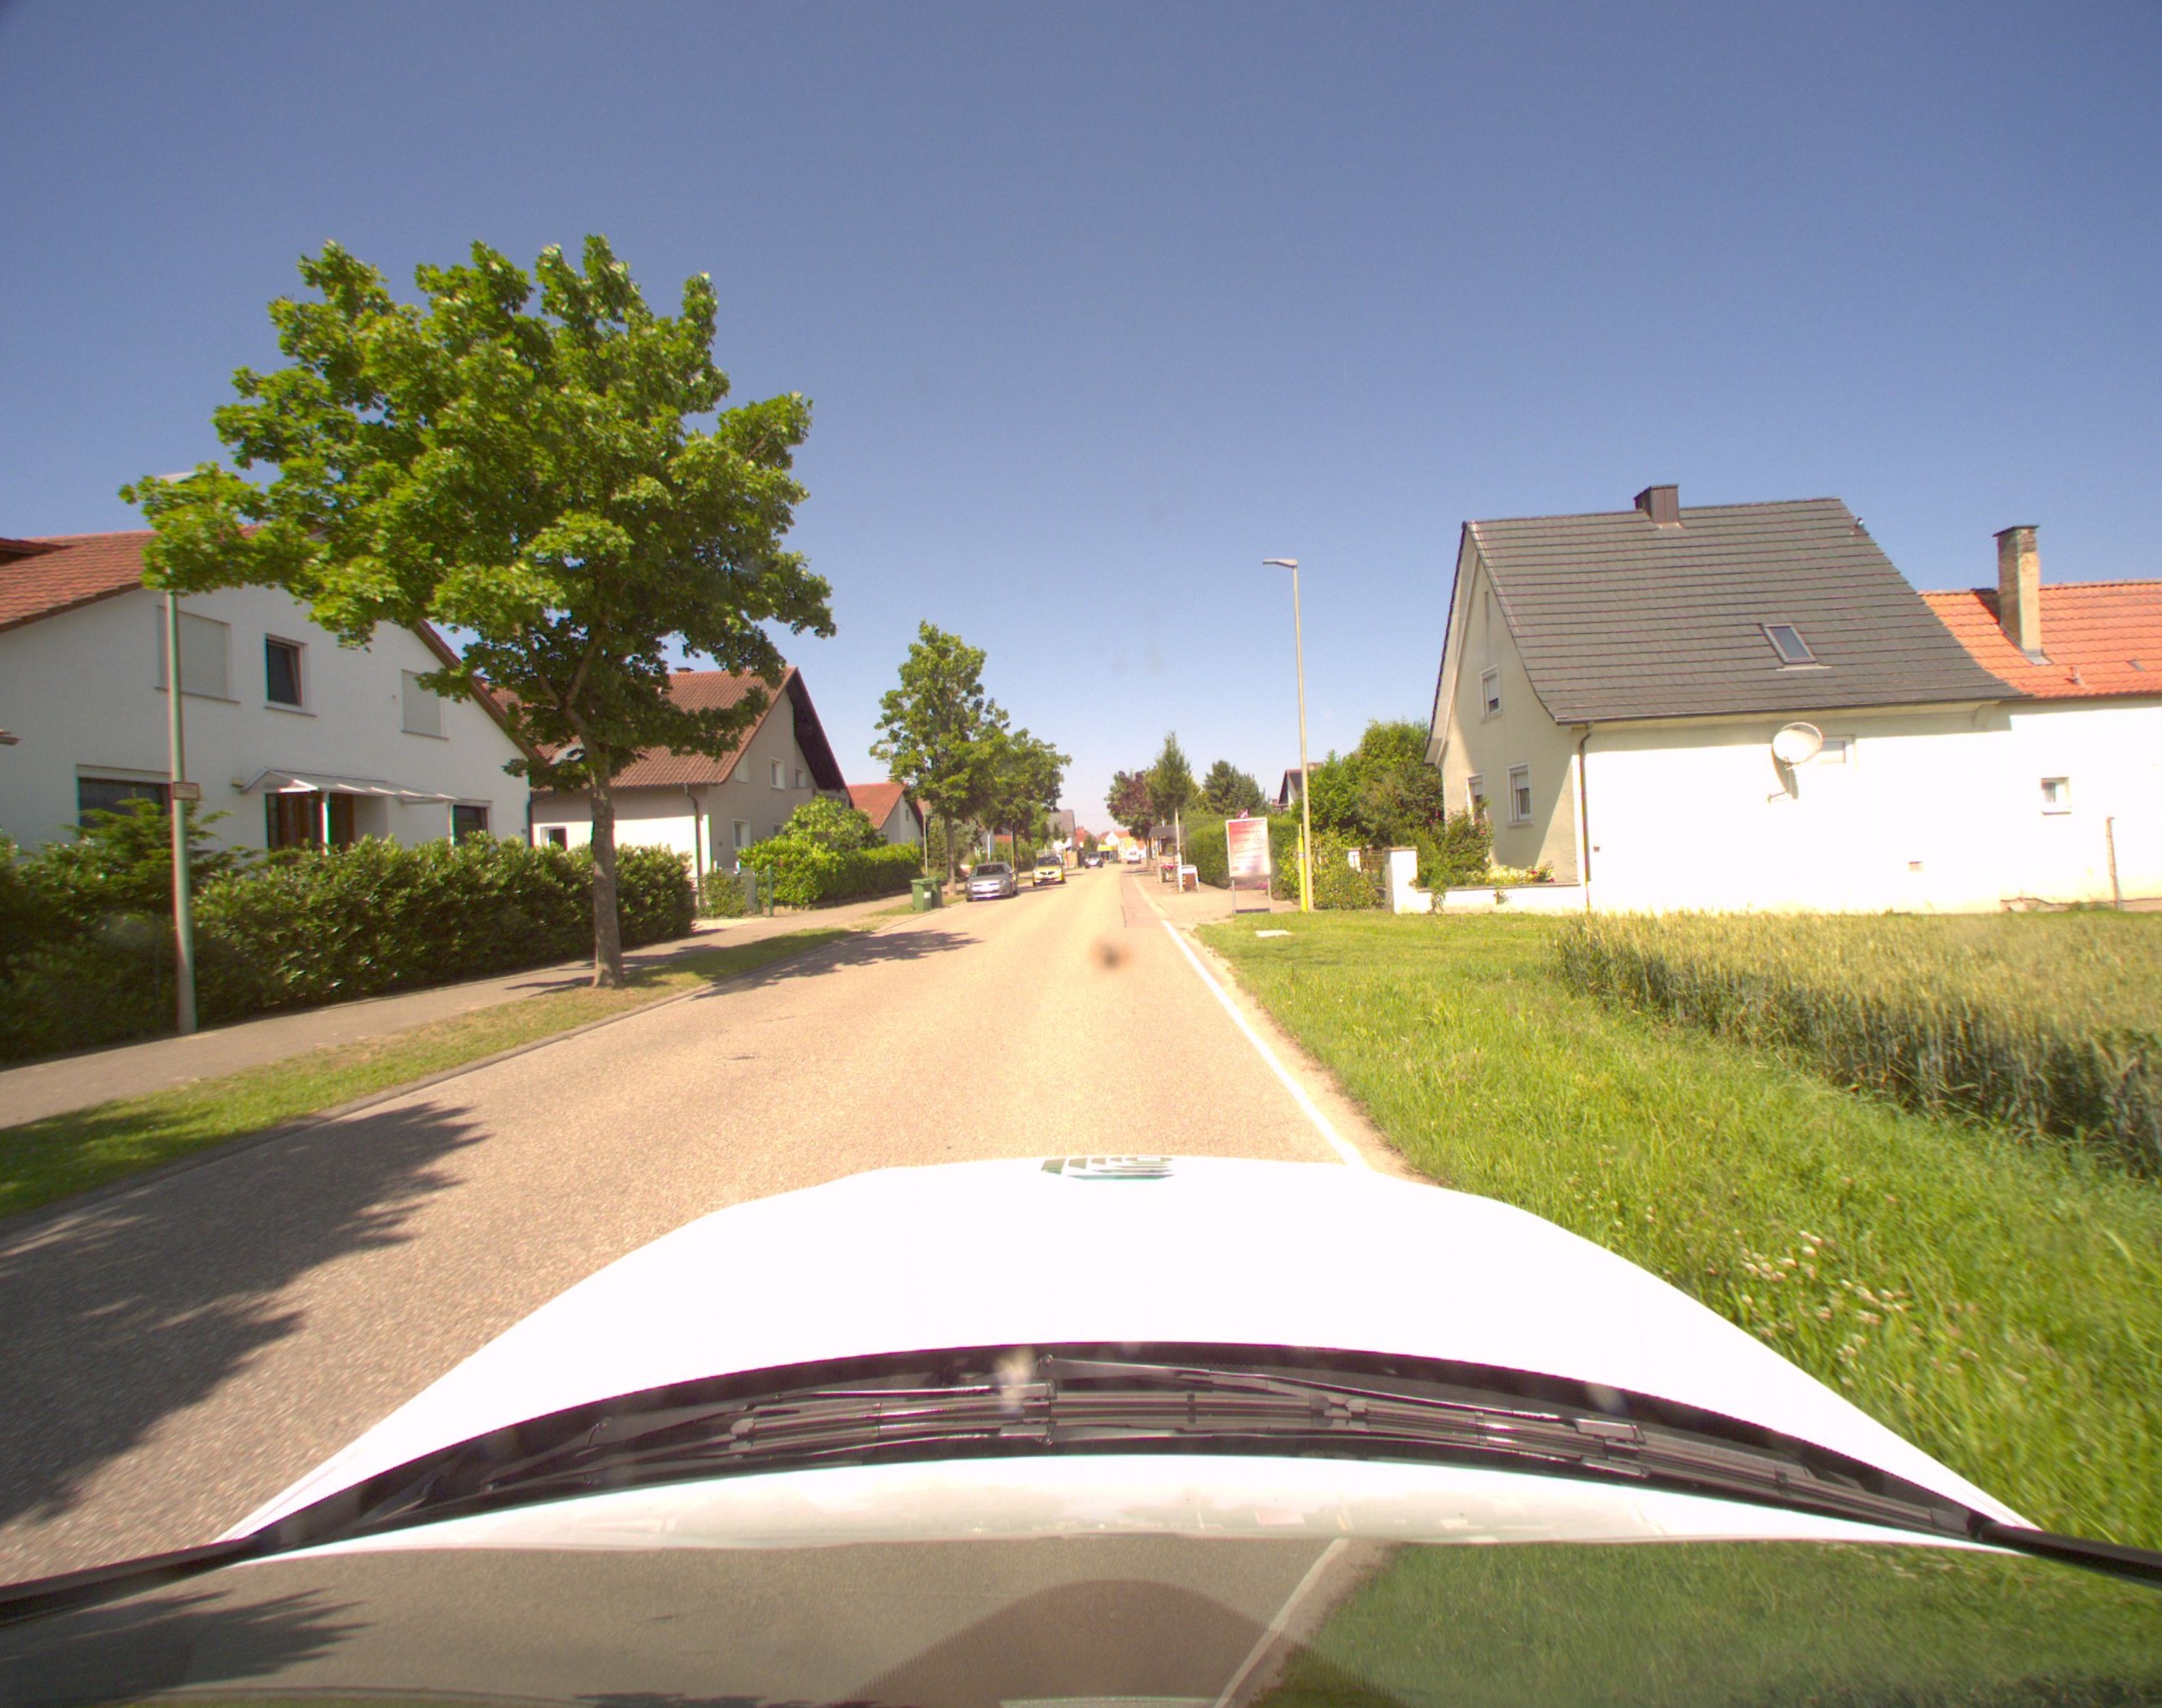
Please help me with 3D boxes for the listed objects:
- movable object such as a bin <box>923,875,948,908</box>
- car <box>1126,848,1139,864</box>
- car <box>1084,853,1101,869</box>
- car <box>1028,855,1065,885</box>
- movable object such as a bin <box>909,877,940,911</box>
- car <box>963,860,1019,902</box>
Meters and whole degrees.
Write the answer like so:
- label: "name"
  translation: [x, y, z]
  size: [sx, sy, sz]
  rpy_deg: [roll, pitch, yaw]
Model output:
- label: "movable object such as a bin"
  translation: [-4.983, 1.286, 27.887]
  size: [0.570, 1.079, 0.601]
  rpy_deg: [-3, -1, 15]
- label: "car"
  translation: [8.499, 0.315, 133.396]
  size: [1.728, 2.432, 4.383]
  rpy_deg: [-3, 0, 7]
- label: "car"
  translation: [1.320, 0.789, 93.680]
  size: [1.829, 1.752, 3.795]
  rpy_deg: [-3, 0, 0]
- label: "car"
  translation: [-1.852, 0.846, 44.841]
  size: [1.659, 1.524, 3.444]
  rpy_deg: [-4, 0, 2]
- label: "movable object such as a bin"
  translation: [-5.220, 1.320, 27.144]
  size: [0.706, 1.079, 0.643]
  rpy_deg: [-3, -1, 27]
- label: "car"
  translation: [-3.535, 1.016, 32.516]
  size: [1.642, 1.423, 4.080]
  rpy_deg: [-5, 0, 0]
